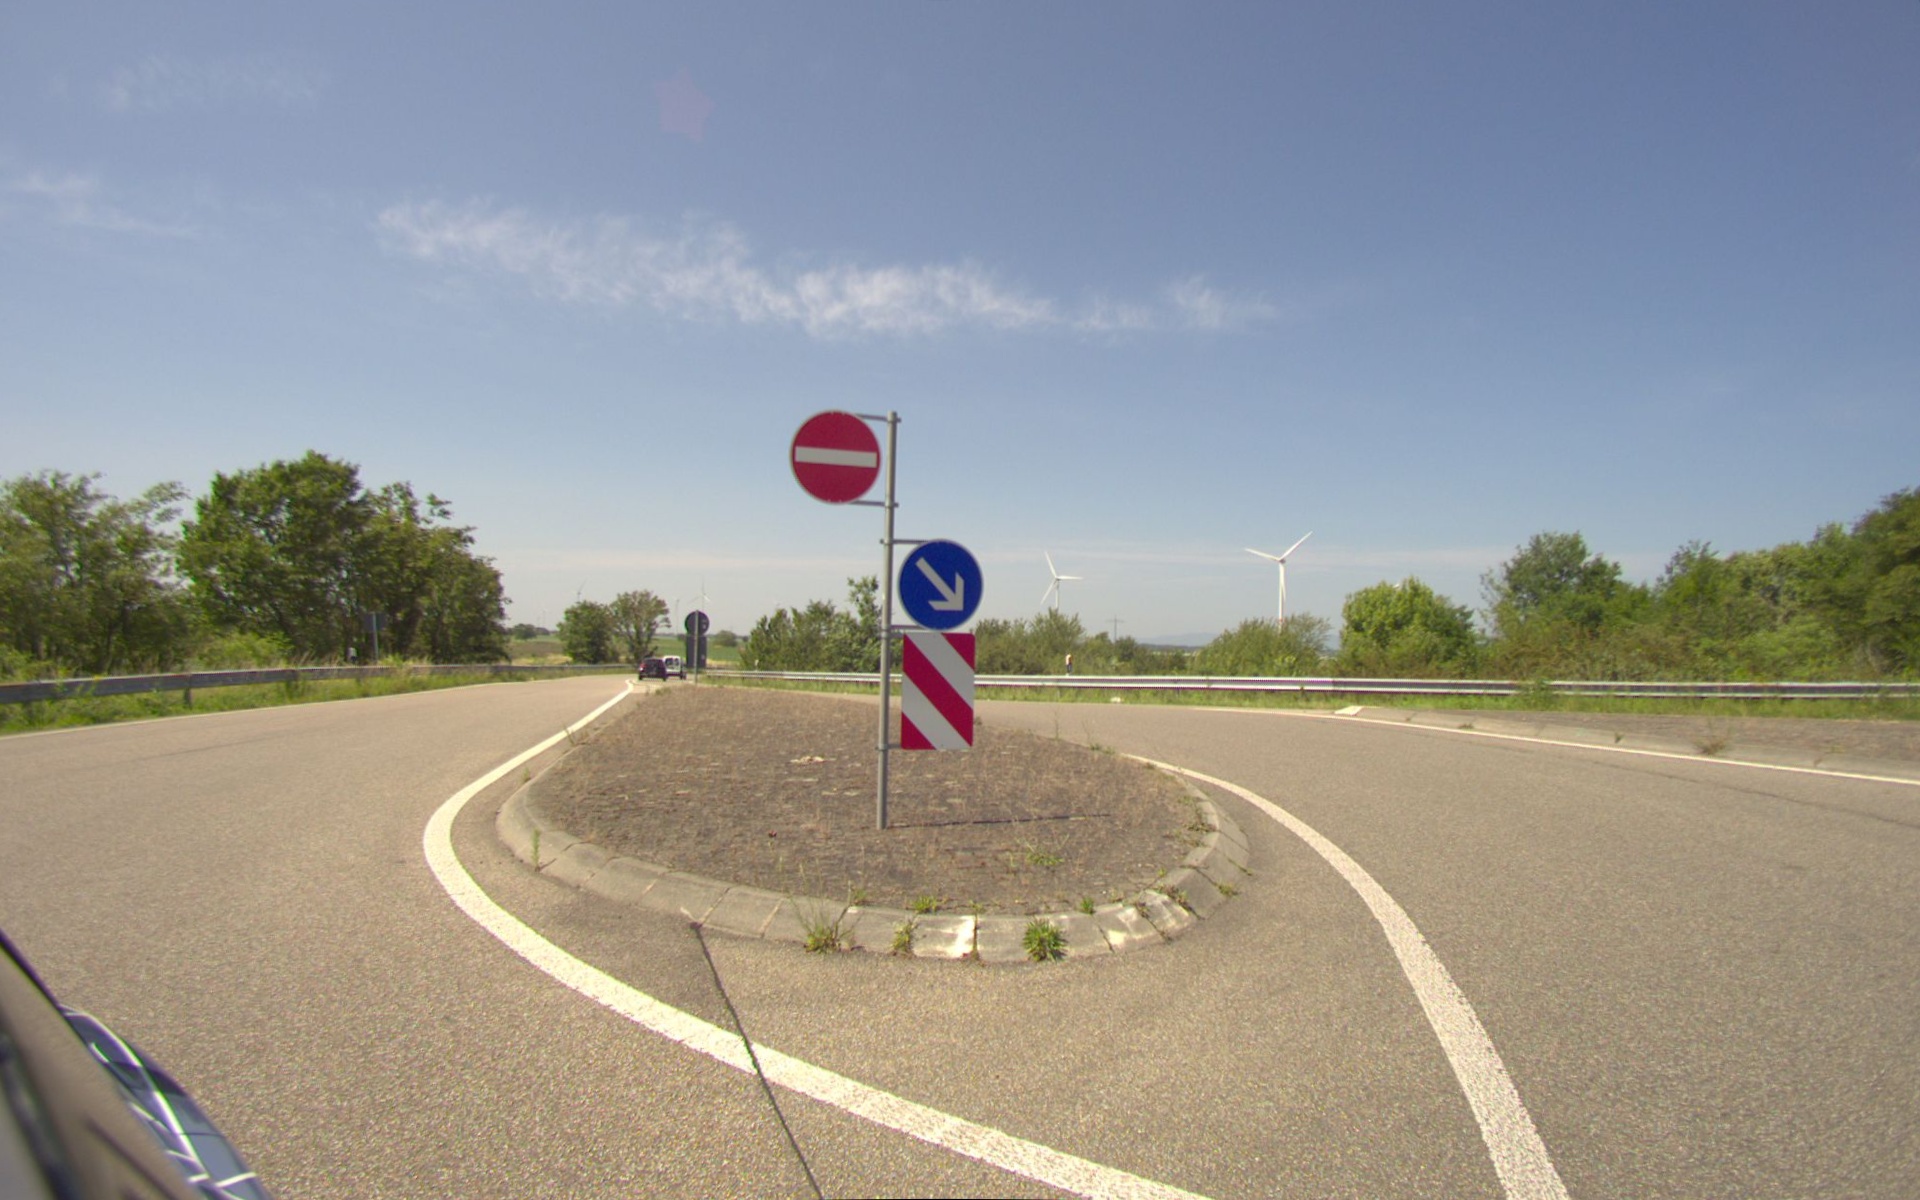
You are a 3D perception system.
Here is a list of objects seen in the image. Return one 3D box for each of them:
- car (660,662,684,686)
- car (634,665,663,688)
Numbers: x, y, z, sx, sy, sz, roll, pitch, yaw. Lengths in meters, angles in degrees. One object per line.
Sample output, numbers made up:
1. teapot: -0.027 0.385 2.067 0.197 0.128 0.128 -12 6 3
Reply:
1. car: -22.749 5.864 79.895 1.713 1.775 4.094 2 -5 -15
2. car: -20.197 4.986 65.680 1.685 1.406 3.898 3 -6 -16
